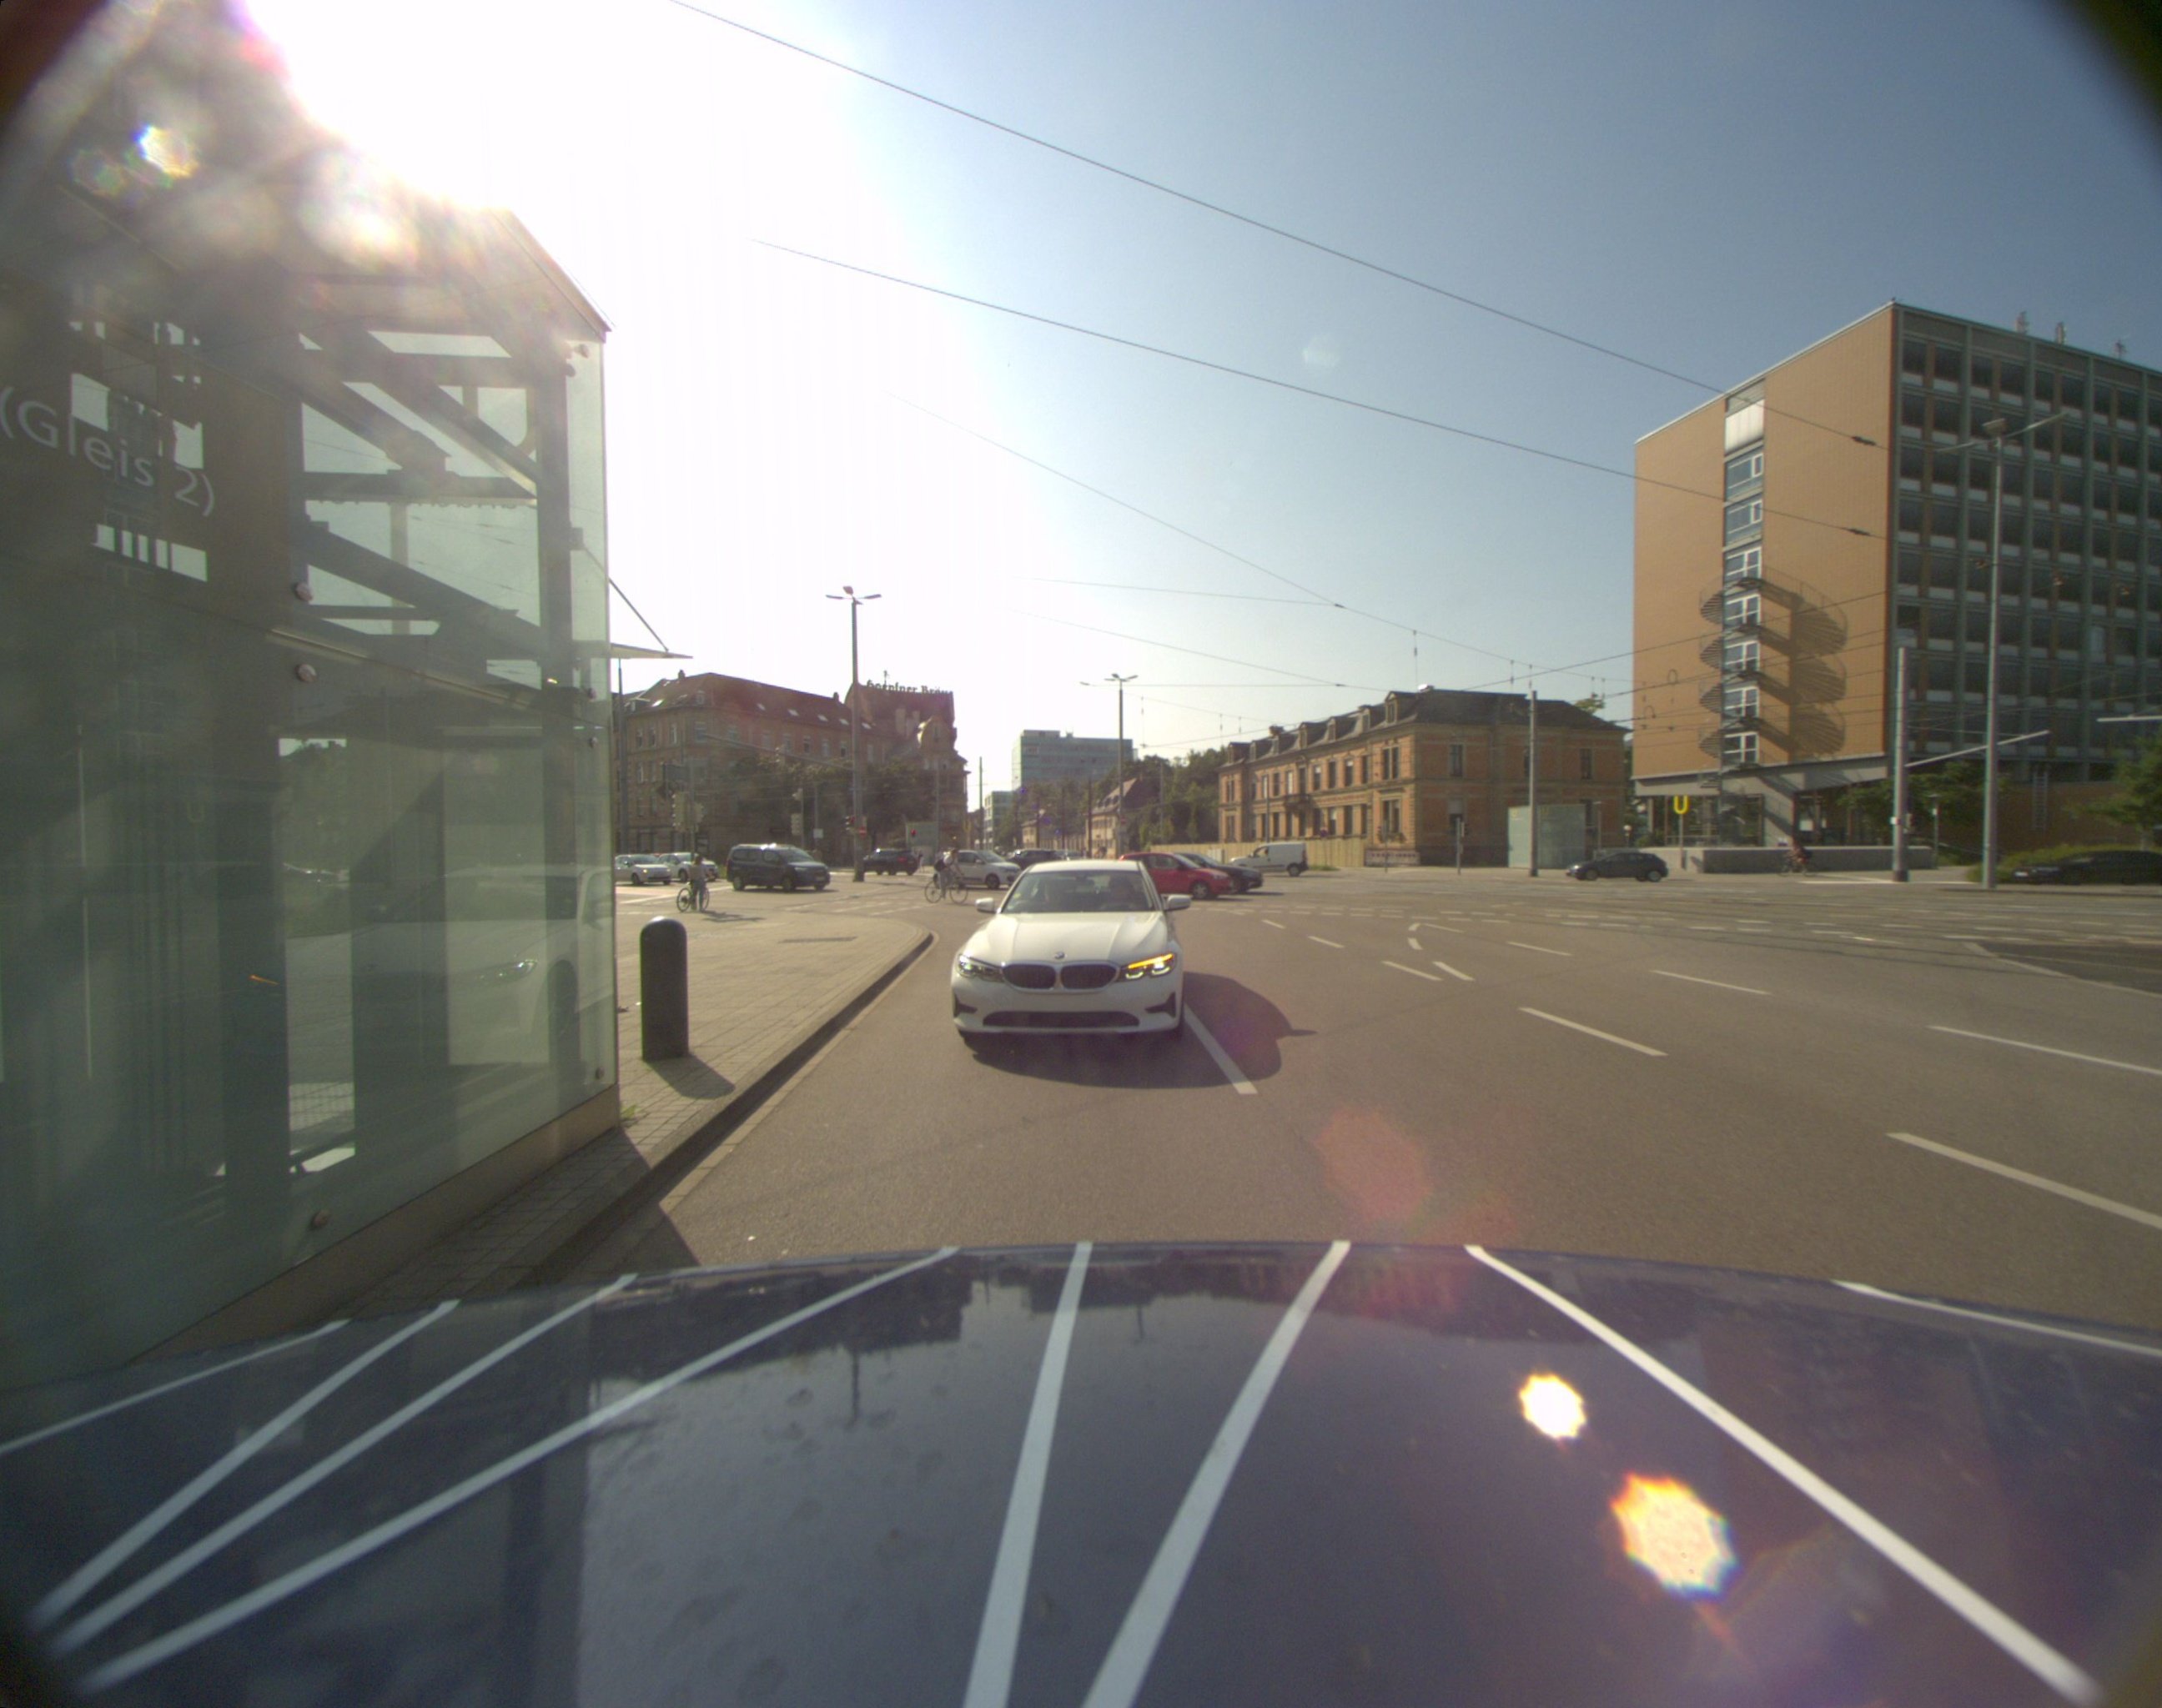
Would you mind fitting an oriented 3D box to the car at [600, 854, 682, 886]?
[{"bbox_3d":[-21.188,0.722,36.581,3.621,1.433,1.807,0,1,30],"label":"car"}]

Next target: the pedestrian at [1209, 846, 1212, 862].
[{"bbox_3d":[12.758,-0.011,74.765,0.237,1.522,0.326,-1,1,-14],"label":"pedestrian"}]

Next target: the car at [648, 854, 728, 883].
[{"bbox_3d":[-20.310,0.718,39.257,3.989,1.407,1.807,0,1,30],"label":"car"}]

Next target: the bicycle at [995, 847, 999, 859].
[{"bbox_3d":[-7.663,-0.120,69.319,0.401,1.084,1.927,0,1,-7],"label":"bicycle"}]

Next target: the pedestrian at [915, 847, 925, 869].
[{"bbox_3d":[-12.370,0.293,58.362,0.522,1.631,0.506,0,1,27],"label":"pedestrian"}]

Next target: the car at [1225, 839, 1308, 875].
[{"bbox_3d":[10.276,0.184,42.033,4.280,1.875,1.798,0,-1,19],"label":"car"}]

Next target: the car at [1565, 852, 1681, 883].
[{"bbox_3d":[26.140,0.659,36.781,4.280,1.456,1.677,0,-1,19],"label":"car"}]

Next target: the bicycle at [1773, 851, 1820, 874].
[{"bbox_3d":[37.033,0.444,39.356,1.769,1.187,0.402,0,1,15],"label":"bicycle"}]

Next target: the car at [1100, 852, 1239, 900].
[{"bbox_3d":[2.792,0.641,24.031,3.989,1.407,1.806,0,1,26],"label":"car"}]

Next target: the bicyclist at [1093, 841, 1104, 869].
[{"bbox_3d":[1.222,0.060,52.278,0.709,1.851,0.782,0,1,6],"label":"bicyclist"}]

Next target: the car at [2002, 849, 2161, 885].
[{"bbox_3d":[41.783,0.534,31.532,4.316,1.456,1.677,0,-1,18],"label":"car"}]

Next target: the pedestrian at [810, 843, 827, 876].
[{"bbox_3d":[-13.542,0.286,39.260,0.596,1.720,0.526,0,1,25],"label":"pedestrian"}]

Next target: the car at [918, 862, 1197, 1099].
[{"bbox_3d":[-0.036,0.888,7.512,1.813,1.419,4.775,-3,1,3],"label":"car"}]

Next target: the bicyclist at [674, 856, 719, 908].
[{"bbox_3d":[-10.869,0.774,21.489,0.729,1.418,0.821,0,0,22],"label":"bicyclist"}]

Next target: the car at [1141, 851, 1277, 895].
[{"bbox_3d":[4.494,0.617,26.818,4.338,1.443,1.807,0,1,30],"label":"car"}]

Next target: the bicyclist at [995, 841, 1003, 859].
[{"bbox_3d":[-7.509,-0.391,69.315,0.663,1.627,0.917,-1,1,-7],"label":"bicyclist"}]

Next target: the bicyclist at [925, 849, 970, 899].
[{"bbox_3d":[-4.075,0.598,23.315,0.970,1.467,1.088,0,3,14],"label":"bicyclist"}]

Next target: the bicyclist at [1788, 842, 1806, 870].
[{"bbox_3d":[37.071,0.109,39.335,0.548,1.471,0.397,0,1,16],"label":"bicyclist"}]

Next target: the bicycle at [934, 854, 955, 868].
[{"bbox_3d":[-10.177,0.489,56.797,1.527,1.019,0.433,-1,1,-14],"label":"bicycle"}]

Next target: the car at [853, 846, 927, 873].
[{"bbox_3d":[-12.162,0.373,48.357,4.280,1.697,1.772,0,-1,21],"label":"car"}]

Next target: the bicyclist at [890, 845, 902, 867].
[{"bbox_3d":[-14.021,0.155,57.619,0.646,1.707,0.588,0,1,24],"label":"bicyclist"}]

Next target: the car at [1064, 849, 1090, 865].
[{"bbox_3d":[-0.378,0.258,65.061,1.693,1.319,3.996,-1,1,-9],"label":"car"}]

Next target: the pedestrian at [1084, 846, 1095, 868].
[{"bbox_3d":[0.659,0.251,59.339,0.792,1.677,0.661,0,1,8],"label":"pedestrian"}]

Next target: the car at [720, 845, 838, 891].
[{"bbox_3d":[-12.557,0.538,31.574,4.761,1.817,1.806,0,1,26],"label":"car"}]

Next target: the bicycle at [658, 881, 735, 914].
[{"bbox_3d":[-10.836,1.208,21.492,0.566,0.888,2.079,-1,-2,22],"label":"bicycle"}]

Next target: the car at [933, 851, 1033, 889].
[{"bbox_3d":[-3.935,0.601,30.546,3.548,1.427,1.806,0,1,25],"label":"car"}]

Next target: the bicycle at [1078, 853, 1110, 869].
[{"bbox_3d":[0.915,0.456,52.333,2.184,1.089,0.529,0,1,6],"label":"bicycle"}]

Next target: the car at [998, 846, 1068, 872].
[{"bbox_3d":[-2.991,0.306,47.330,3.967,1.572,1.746,0,0,18],"label":"car"}]

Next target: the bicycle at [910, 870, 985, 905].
[{"bbox_3d":[-4.071,1.035,23.235,2.193,0.983,0.529,-2,2,14],"label":"bicycle"}]

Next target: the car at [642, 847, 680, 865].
[{"bbox_3d":[-33.744,0.146,61.004,1.680,1.439,3.769,-1,0,-44],"label":"car"}]

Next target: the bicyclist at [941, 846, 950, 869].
[{"bbox_3d":[-10.144,0.269,56.811,0.587,1.720,0.594,-1,1,-14],"label":"bicyclist"}]
